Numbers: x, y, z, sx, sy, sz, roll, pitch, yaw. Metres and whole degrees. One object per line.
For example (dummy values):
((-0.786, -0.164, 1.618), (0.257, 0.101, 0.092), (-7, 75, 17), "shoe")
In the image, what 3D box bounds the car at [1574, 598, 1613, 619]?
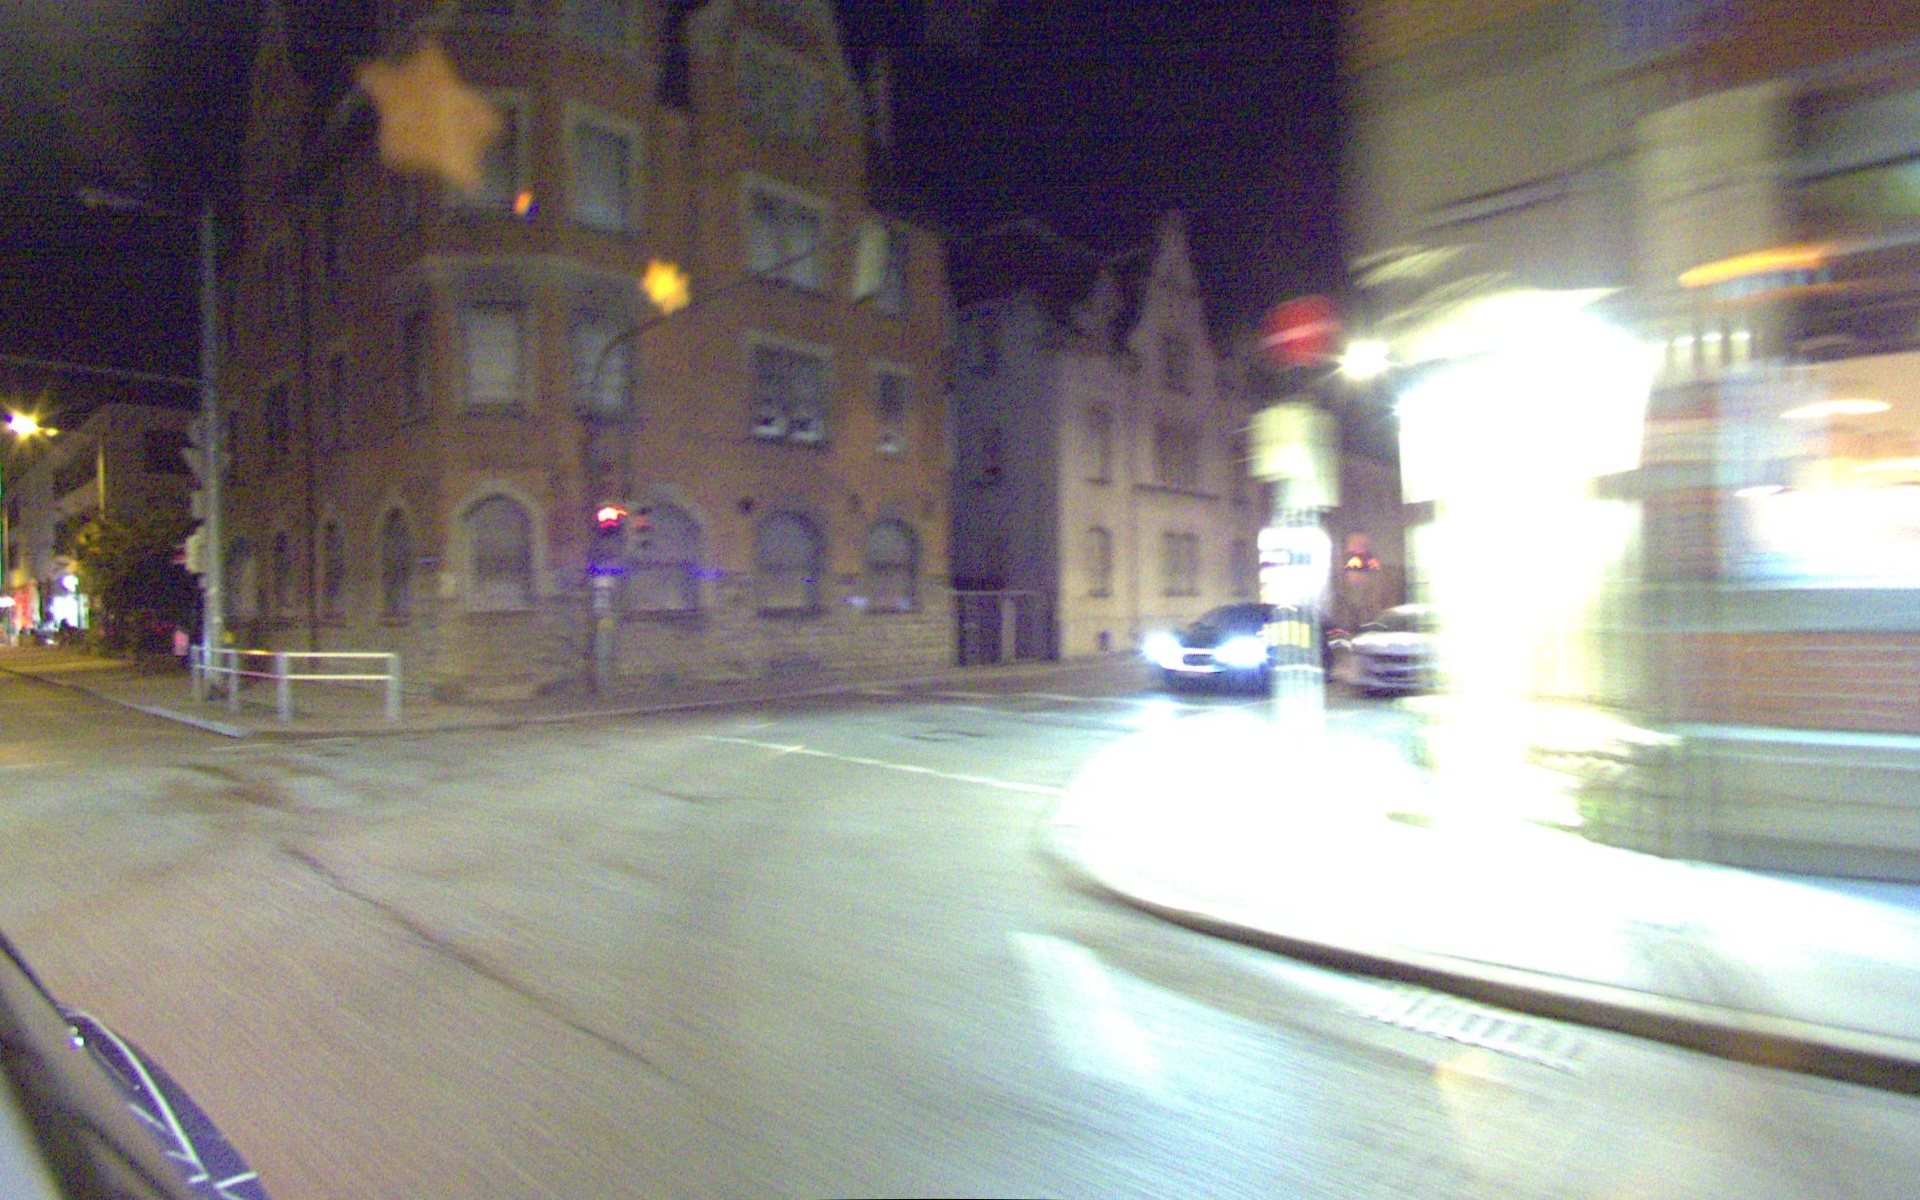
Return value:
((45.134, 0.589, 72.080), (1.766, 1.439, 3.945), (-2, -1, 41), "car")

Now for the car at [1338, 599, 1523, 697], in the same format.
((7.922, 0.713, 16.841), (1.800, 1.413, 4.233), (-1, -1, 39), "car")

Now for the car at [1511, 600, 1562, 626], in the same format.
((33.118, 0.739, 58.077), (1.766, 1.439, 3.945), (-2, -1, 41), "car")

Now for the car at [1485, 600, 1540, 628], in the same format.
((29.665, 0.748, 54.290), (1.766, 1.439, 3.945), (-2, -1, 41), "car")

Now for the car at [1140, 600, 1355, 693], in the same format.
((5.211, 0.738, 17.932), (1.916, 1.428, 4.577), (-1, -1, 41), "car")

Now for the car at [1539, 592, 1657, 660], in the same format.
((16.605, 0.624, 26.261), (1.999, 1.611, 4.231), (0, 0, 41), "car")
